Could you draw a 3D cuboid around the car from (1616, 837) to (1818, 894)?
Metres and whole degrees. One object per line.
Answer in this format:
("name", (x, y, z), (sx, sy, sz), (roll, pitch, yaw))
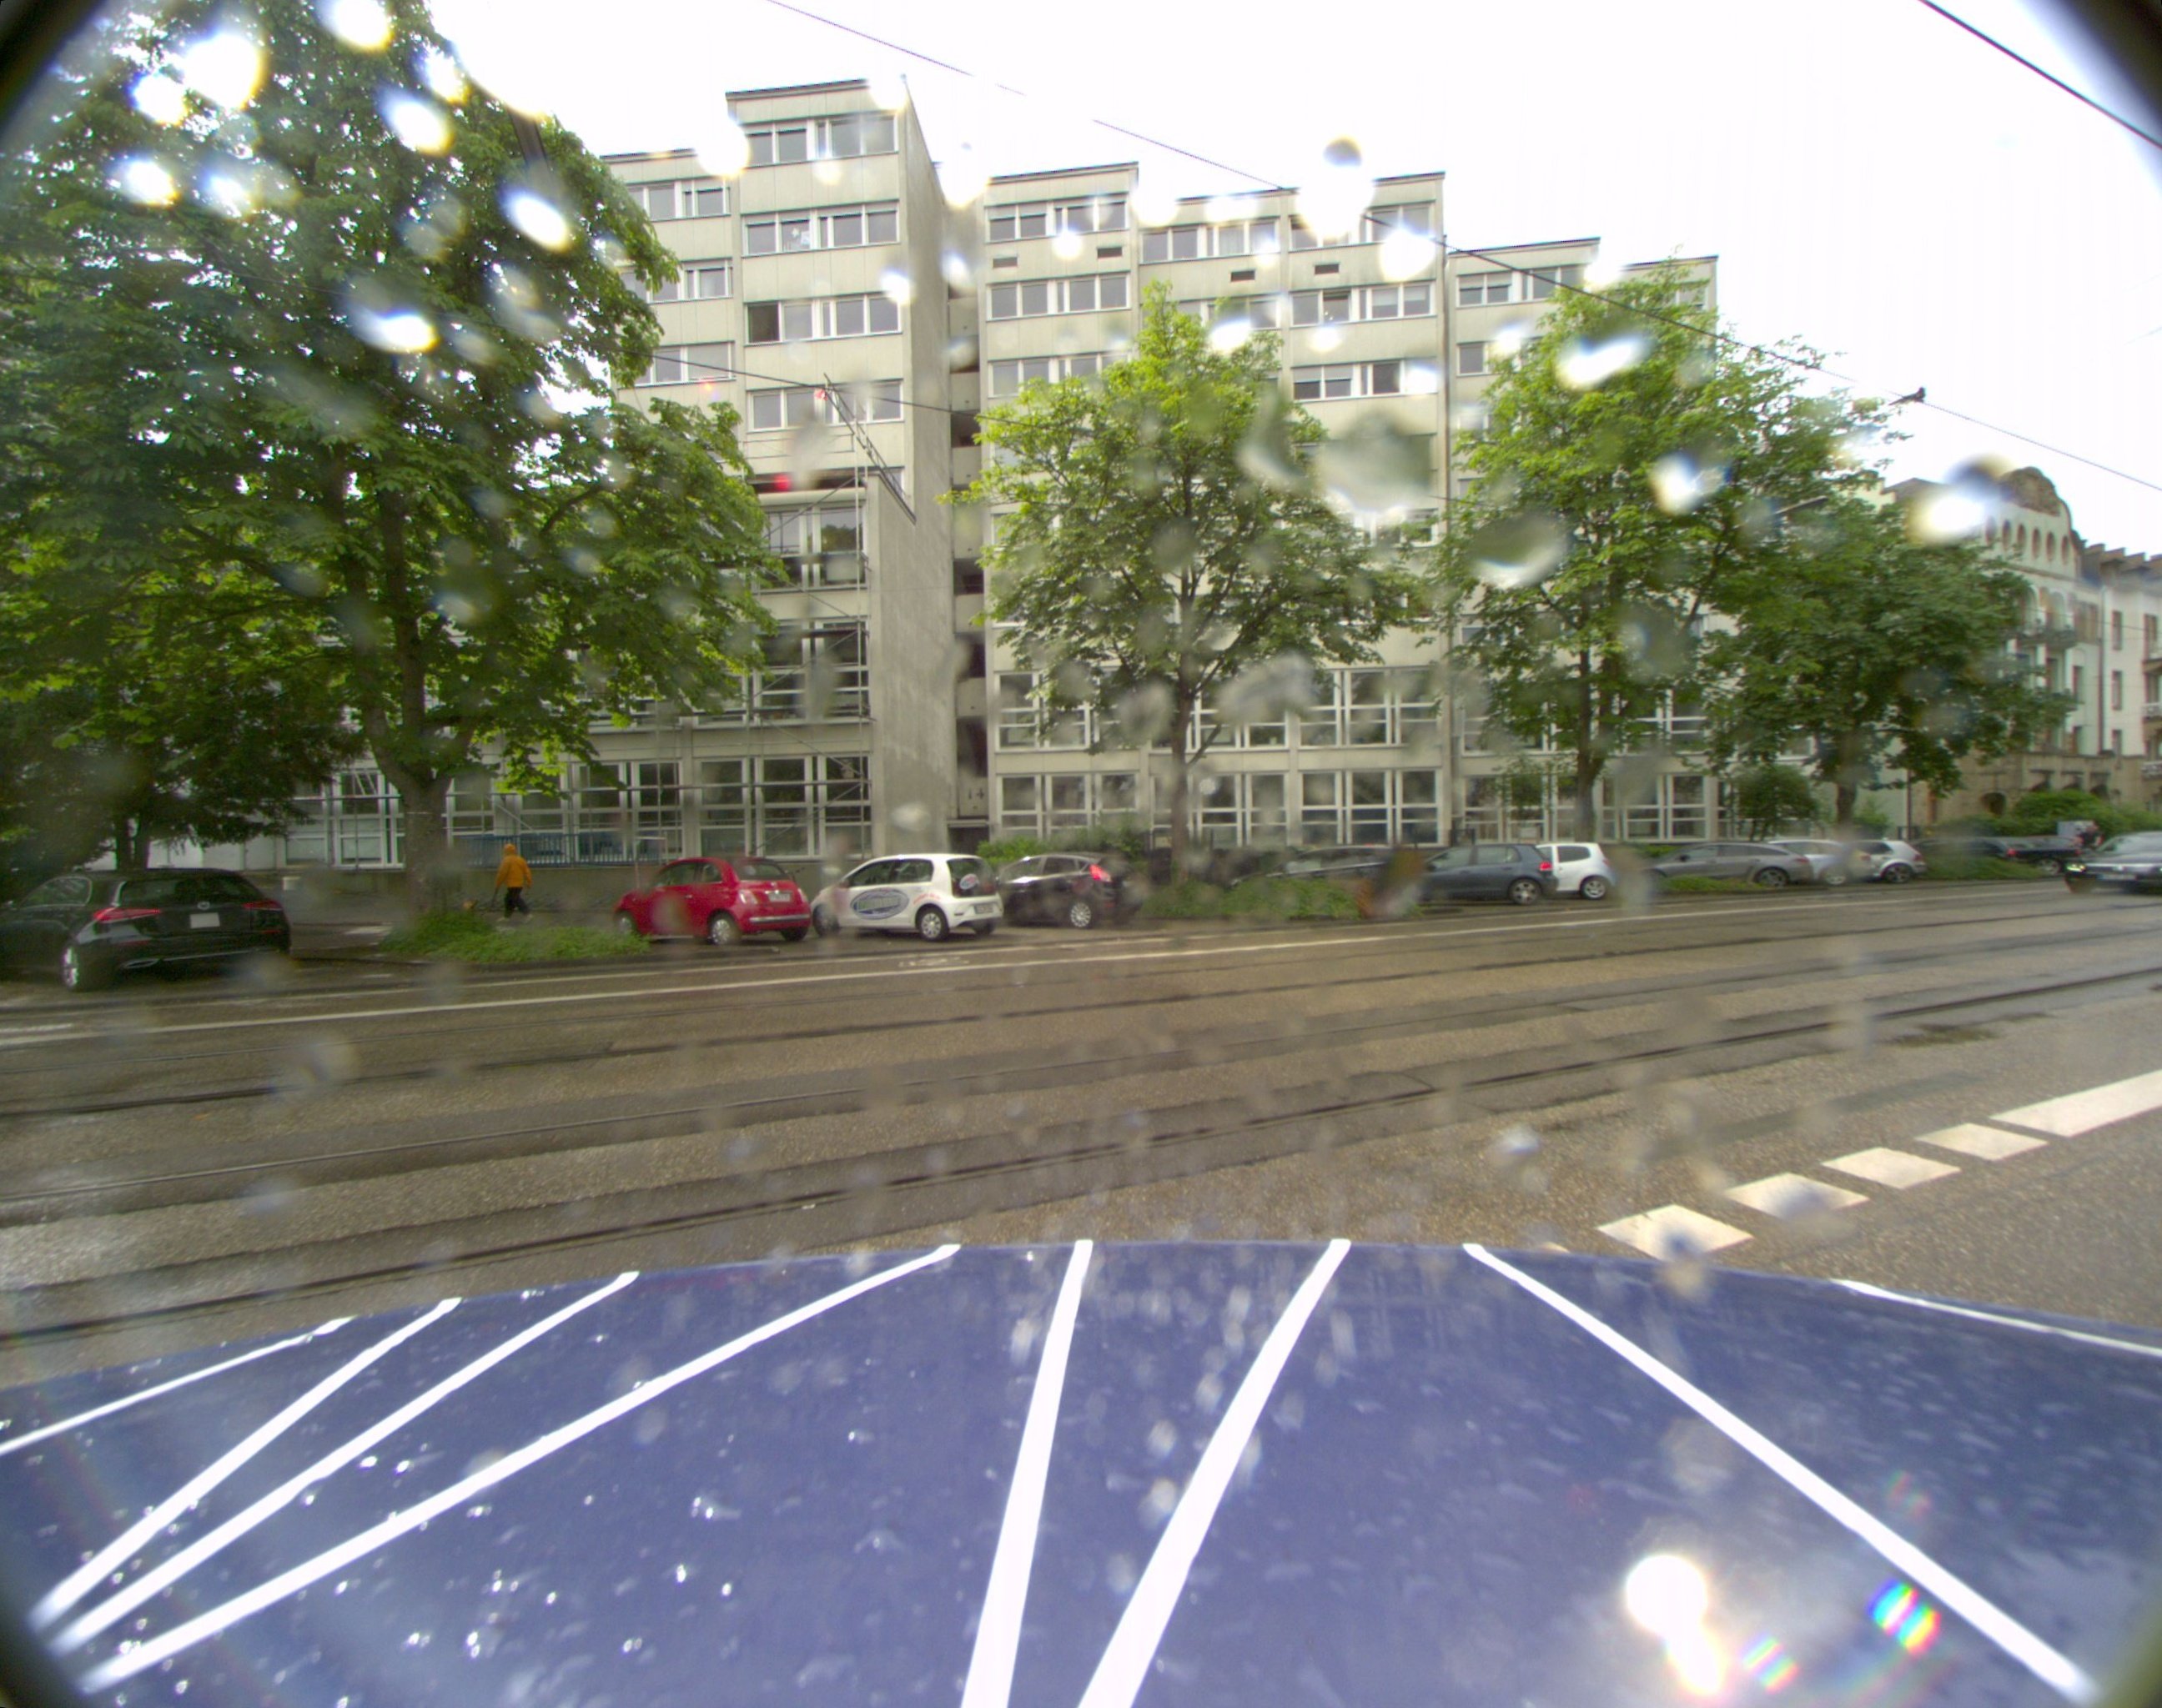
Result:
("car", (18.519, 0.358, 22.388), (4.197, 1.444, 1.817), (-3, 0, 25))

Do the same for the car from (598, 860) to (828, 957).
("car", (-6.260, 0.865, 12.943), (3.399, 1.461, 1.745), (-1, -1, 25))

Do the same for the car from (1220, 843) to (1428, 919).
("car", (5.651, 0.647, 17.743), (4.361, 1.545, 1.882), (-3, -1, 23))

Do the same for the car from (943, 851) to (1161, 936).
("car", (-0.613, 0.757, 15.191), (3.968, 1.472, 1.820), (-2, 0, 31))

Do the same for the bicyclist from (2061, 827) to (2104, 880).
("bicyclist", (31.394, -0.002, 23.810), (0.675, 1.608, 0.644), (-3, 0, -26))

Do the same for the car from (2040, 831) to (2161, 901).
("car", (25.341, 0.220, 18.001), (4.768, 1.472, 1.997), (-2, -1, -22))

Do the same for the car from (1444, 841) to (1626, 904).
("car", (11.804, 0.507, 20.070), (3.873, 1.445, 1.781), (-3, -1, 24))

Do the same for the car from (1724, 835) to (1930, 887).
("car", (24.145, 0.230, 24.836), (4.361, 1.444, 1.909), (-3, 0, 25))

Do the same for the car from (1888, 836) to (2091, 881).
("car", (33.634, 0.174, 28.349), (4.429, 1.444, 1.909), (-3, -1, 32))

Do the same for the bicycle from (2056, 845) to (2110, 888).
("bicycle", (31.423, 0.392, 23.817), (1.871, 1.258, 0.644), (-3, 0, -26))

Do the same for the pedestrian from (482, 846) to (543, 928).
("pedestrian", (-12.406, 0.717, 16.578), (0.837, 1.733, 0.708), (-3, 0, 28))

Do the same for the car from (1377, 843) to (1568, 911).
("car", (9.311, 0.567, 18.394), (3.873, 1.445, 1.826), (-3, -1, 24))

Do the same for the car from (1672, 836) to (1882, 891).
("car", (21.313, 0.316, 23.534), (4.384, 1.444, 1.888), (-3, 0, 25))

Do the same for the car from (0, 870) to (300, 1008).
("car", (-12.323, 0.989, 9.952), (3.641, 1.461, 1.744), (-1, 1, 25))

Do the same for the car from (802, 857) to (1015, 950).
("car", (-3.105, 0.823, 13.690), (3.399, 1.444, 1.713), (-1, 1, 28))
